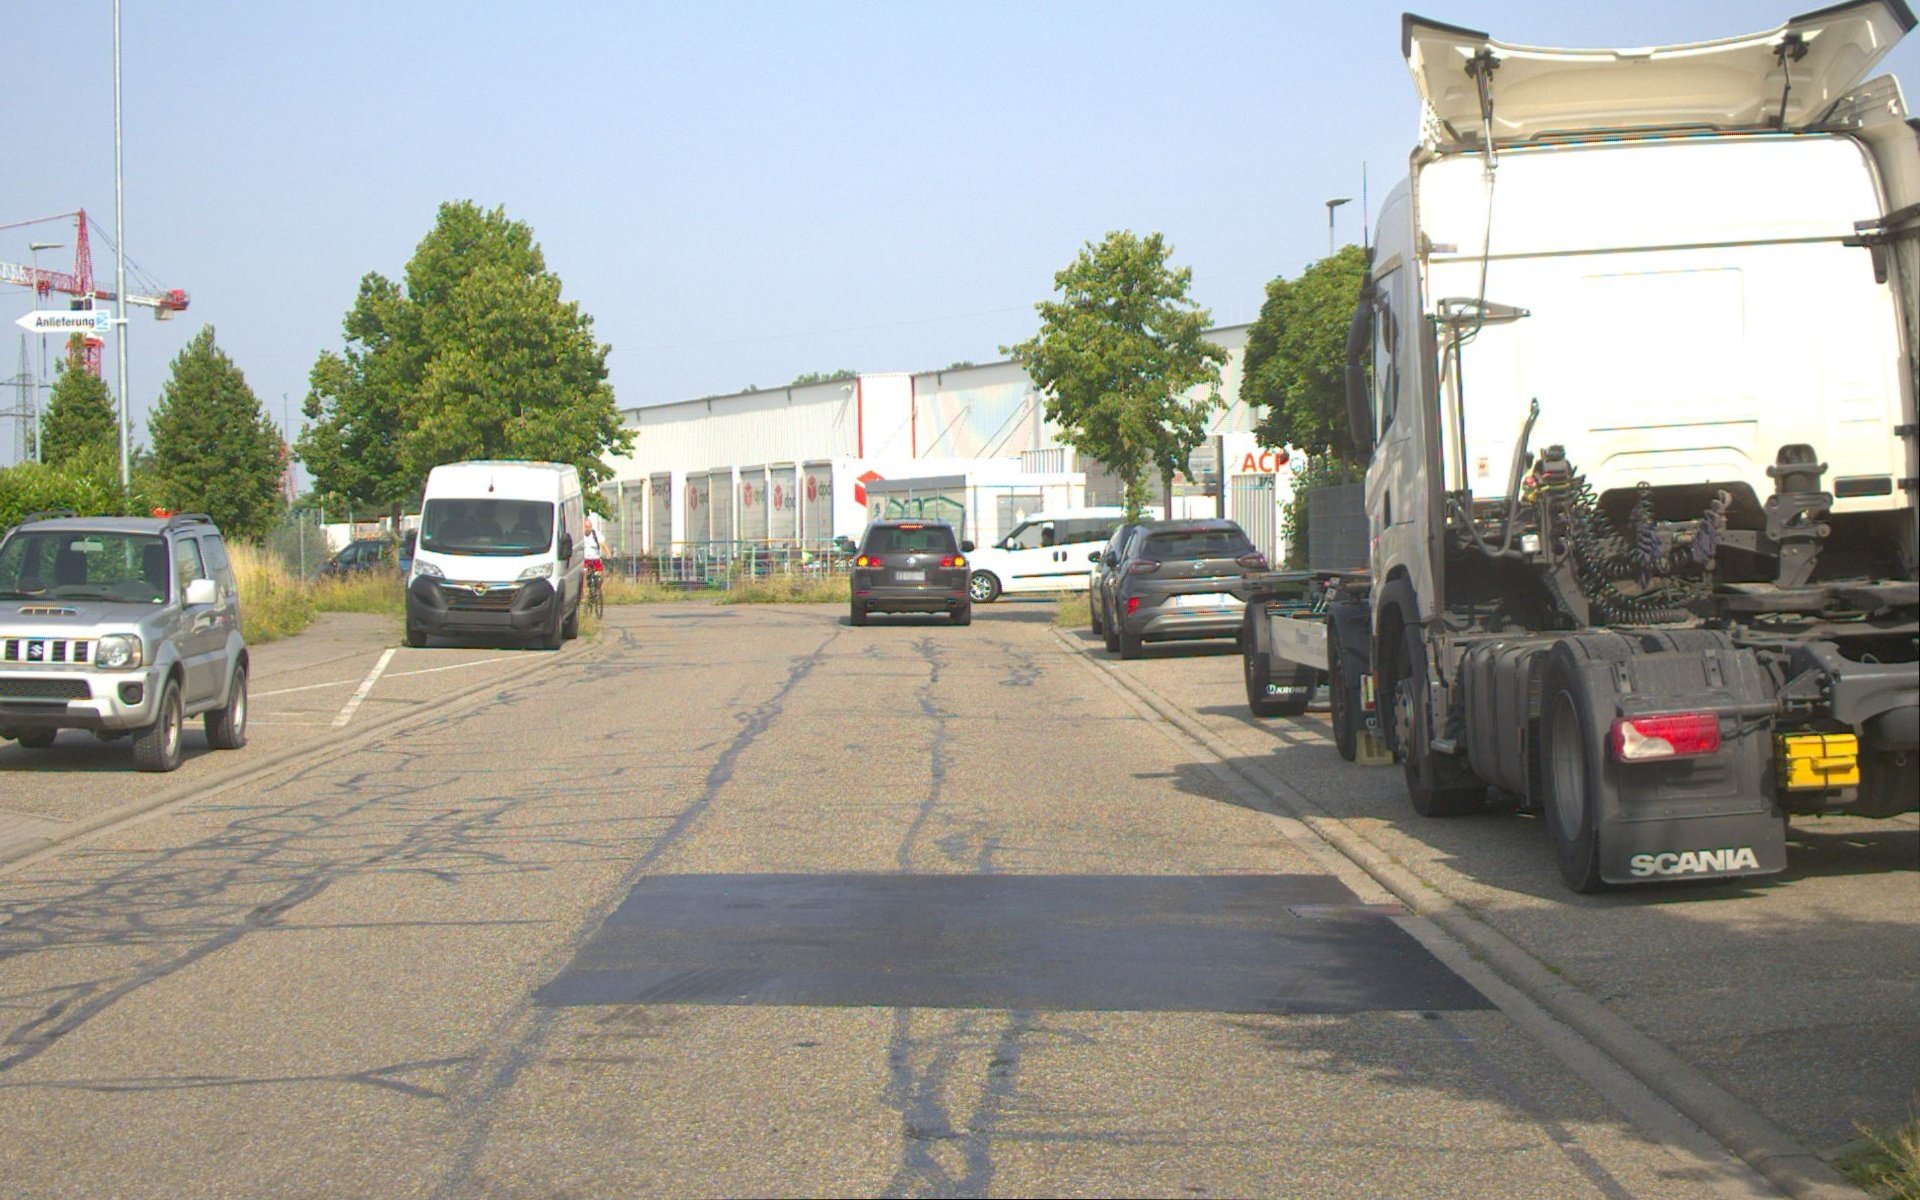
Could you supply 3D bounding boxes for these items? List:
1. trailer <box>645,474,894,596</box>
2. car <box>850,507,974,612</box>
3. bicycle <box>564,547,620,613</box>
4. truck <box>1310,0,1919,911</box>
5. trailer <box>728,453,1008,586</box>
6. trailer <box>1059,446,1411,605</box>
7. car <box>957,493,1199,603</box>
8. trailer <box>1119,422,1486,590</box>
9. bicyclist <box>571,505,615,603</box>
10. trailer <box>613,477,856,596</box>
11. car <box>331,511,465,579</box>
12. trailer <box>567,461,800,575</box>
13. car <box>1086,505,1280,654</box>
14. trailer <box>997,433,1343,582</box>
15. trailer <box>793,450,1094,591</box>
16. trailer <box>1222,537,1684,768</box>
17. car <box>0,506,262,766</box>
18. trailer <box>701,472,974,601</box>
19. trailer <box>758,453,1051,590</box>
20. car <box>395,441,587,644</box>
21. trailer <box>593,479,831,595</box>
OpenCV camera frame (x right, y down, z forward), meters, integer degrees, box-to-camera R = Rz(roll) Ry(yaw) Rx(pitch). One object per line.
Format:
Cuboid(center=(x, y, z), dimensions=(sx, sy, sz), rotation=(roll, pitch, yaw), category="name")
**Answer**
Cuboid(center=(-6.519, -2.206, 117.980), dimensions=(7.960, 3.880, 2.776), rotation=(2, 1, -24), category="trailer")
Cuboid(center=(-0.756, -0.641, 55.237), dimensions=(1.880, 1.581, 4.113), rotation=(1, 0, -1), category="car")
Cuboid(center=(-6.545, -0.367, 61.176), dimensions=(0.716, 1.118, 2.219), rotation=(-3, 1, 0), category="bicycle")
Cuboid(center=(3.456, -0.958, 15.600), dimensions=(2.691, 3.950, 6.049), rotation=(-3, 1, -2), category="truck")
Cuboid(center=(-2.885, -2.527, 108.655), dimensions=(8.305, 3.880, 2.776), rotation=(2, 1, -24), category="trailer")
Cuboid(center=(7.009, -1.913, 87.361), dimensions=(8.534, 3.880, 2.776), rotation=(-1, 1, -22), category="trailer")
Cuboid(center=(2.291, -1.017, 67.794), dimensions=(4.609, 2.103, 2.128), rotation=(-1, 0, -2), category="car")
Cuboid(center=(8.387, -2.245, 83.972), dimensions=(8.533, 3.881, 2.776), rotation=(0, -2, -22), category="trailer")
Cuboid(center=(-6.542, -0.825, 61.285), dimensions=(0.639, 1.713, 1.165), rotation=(-1, 1, 0), category="bicyclist")
Cuboid(center=(-7.902, -2.219, 120.690), dimensions=(7.960, 3.880, 2.776), rotation=(2, 1, -24), category="trailer")
Cuboid(center=(-13.466, -1.306, 82.211), dimensions=(1.968, 1.568, 4.114), rotation=(-1, 0, -27), category="car")
Cuboid(center=(-10.149, -2.977, 126.414), dimensions=(7.960, 3.880, 2.776), rotation=(2, 1, -24), category="trailer")
Cuboid(center=(2.507, -0.244, 39.543), dimensions=(1.880, 1.568, 4.113), rotation=(-2, 0, 0), category="car")
Cuboid(center=(5.540, -2.356, 90.270), dimensions=(8.729, 3.748, 2.791), rotation=(0, 0, -24), category="trailer")
Cuboid(center=(-0.474, -2.349, 102.947), dimensions=(8.533, 3.880, 2.776), rotation=(2, 1, -24), category="trailer")
Cuboid(center=(3.090, 0.230, 23.285), dimensions=(1.938, 1.231, 7.452), rotation=(-2, 1, -1), category="trailer")
Cuboid(center=(-5.959, 0.189, 23.642), dimensions=(1.597, 1.645, 3.644), rotation=(0, 1, -1), category="car")
Cuboid(center=(-3.953, -2.050, 111.545), dimensions=(8.305, 3.880, 2.776), rotation=(2, 1, -24), category="trailer")
Cuboid(center=(-1.690, -2.394, 105.900), dimensions=(8.533, 3.880, 2.776), rotation=(2, 1, -24), category="trailer")
Cuboid(center=(-6.499, -0.805, 48.295), dimensions=(2.102, 2.586, 6.505), rotation=(2, 1, -4), category="car")
Cuboid(center=(-8.908, -2.245, 123.727), dimensions=(7.960, 3.880, 2.776), rotation=(2, 1, -24), category="trailer")
